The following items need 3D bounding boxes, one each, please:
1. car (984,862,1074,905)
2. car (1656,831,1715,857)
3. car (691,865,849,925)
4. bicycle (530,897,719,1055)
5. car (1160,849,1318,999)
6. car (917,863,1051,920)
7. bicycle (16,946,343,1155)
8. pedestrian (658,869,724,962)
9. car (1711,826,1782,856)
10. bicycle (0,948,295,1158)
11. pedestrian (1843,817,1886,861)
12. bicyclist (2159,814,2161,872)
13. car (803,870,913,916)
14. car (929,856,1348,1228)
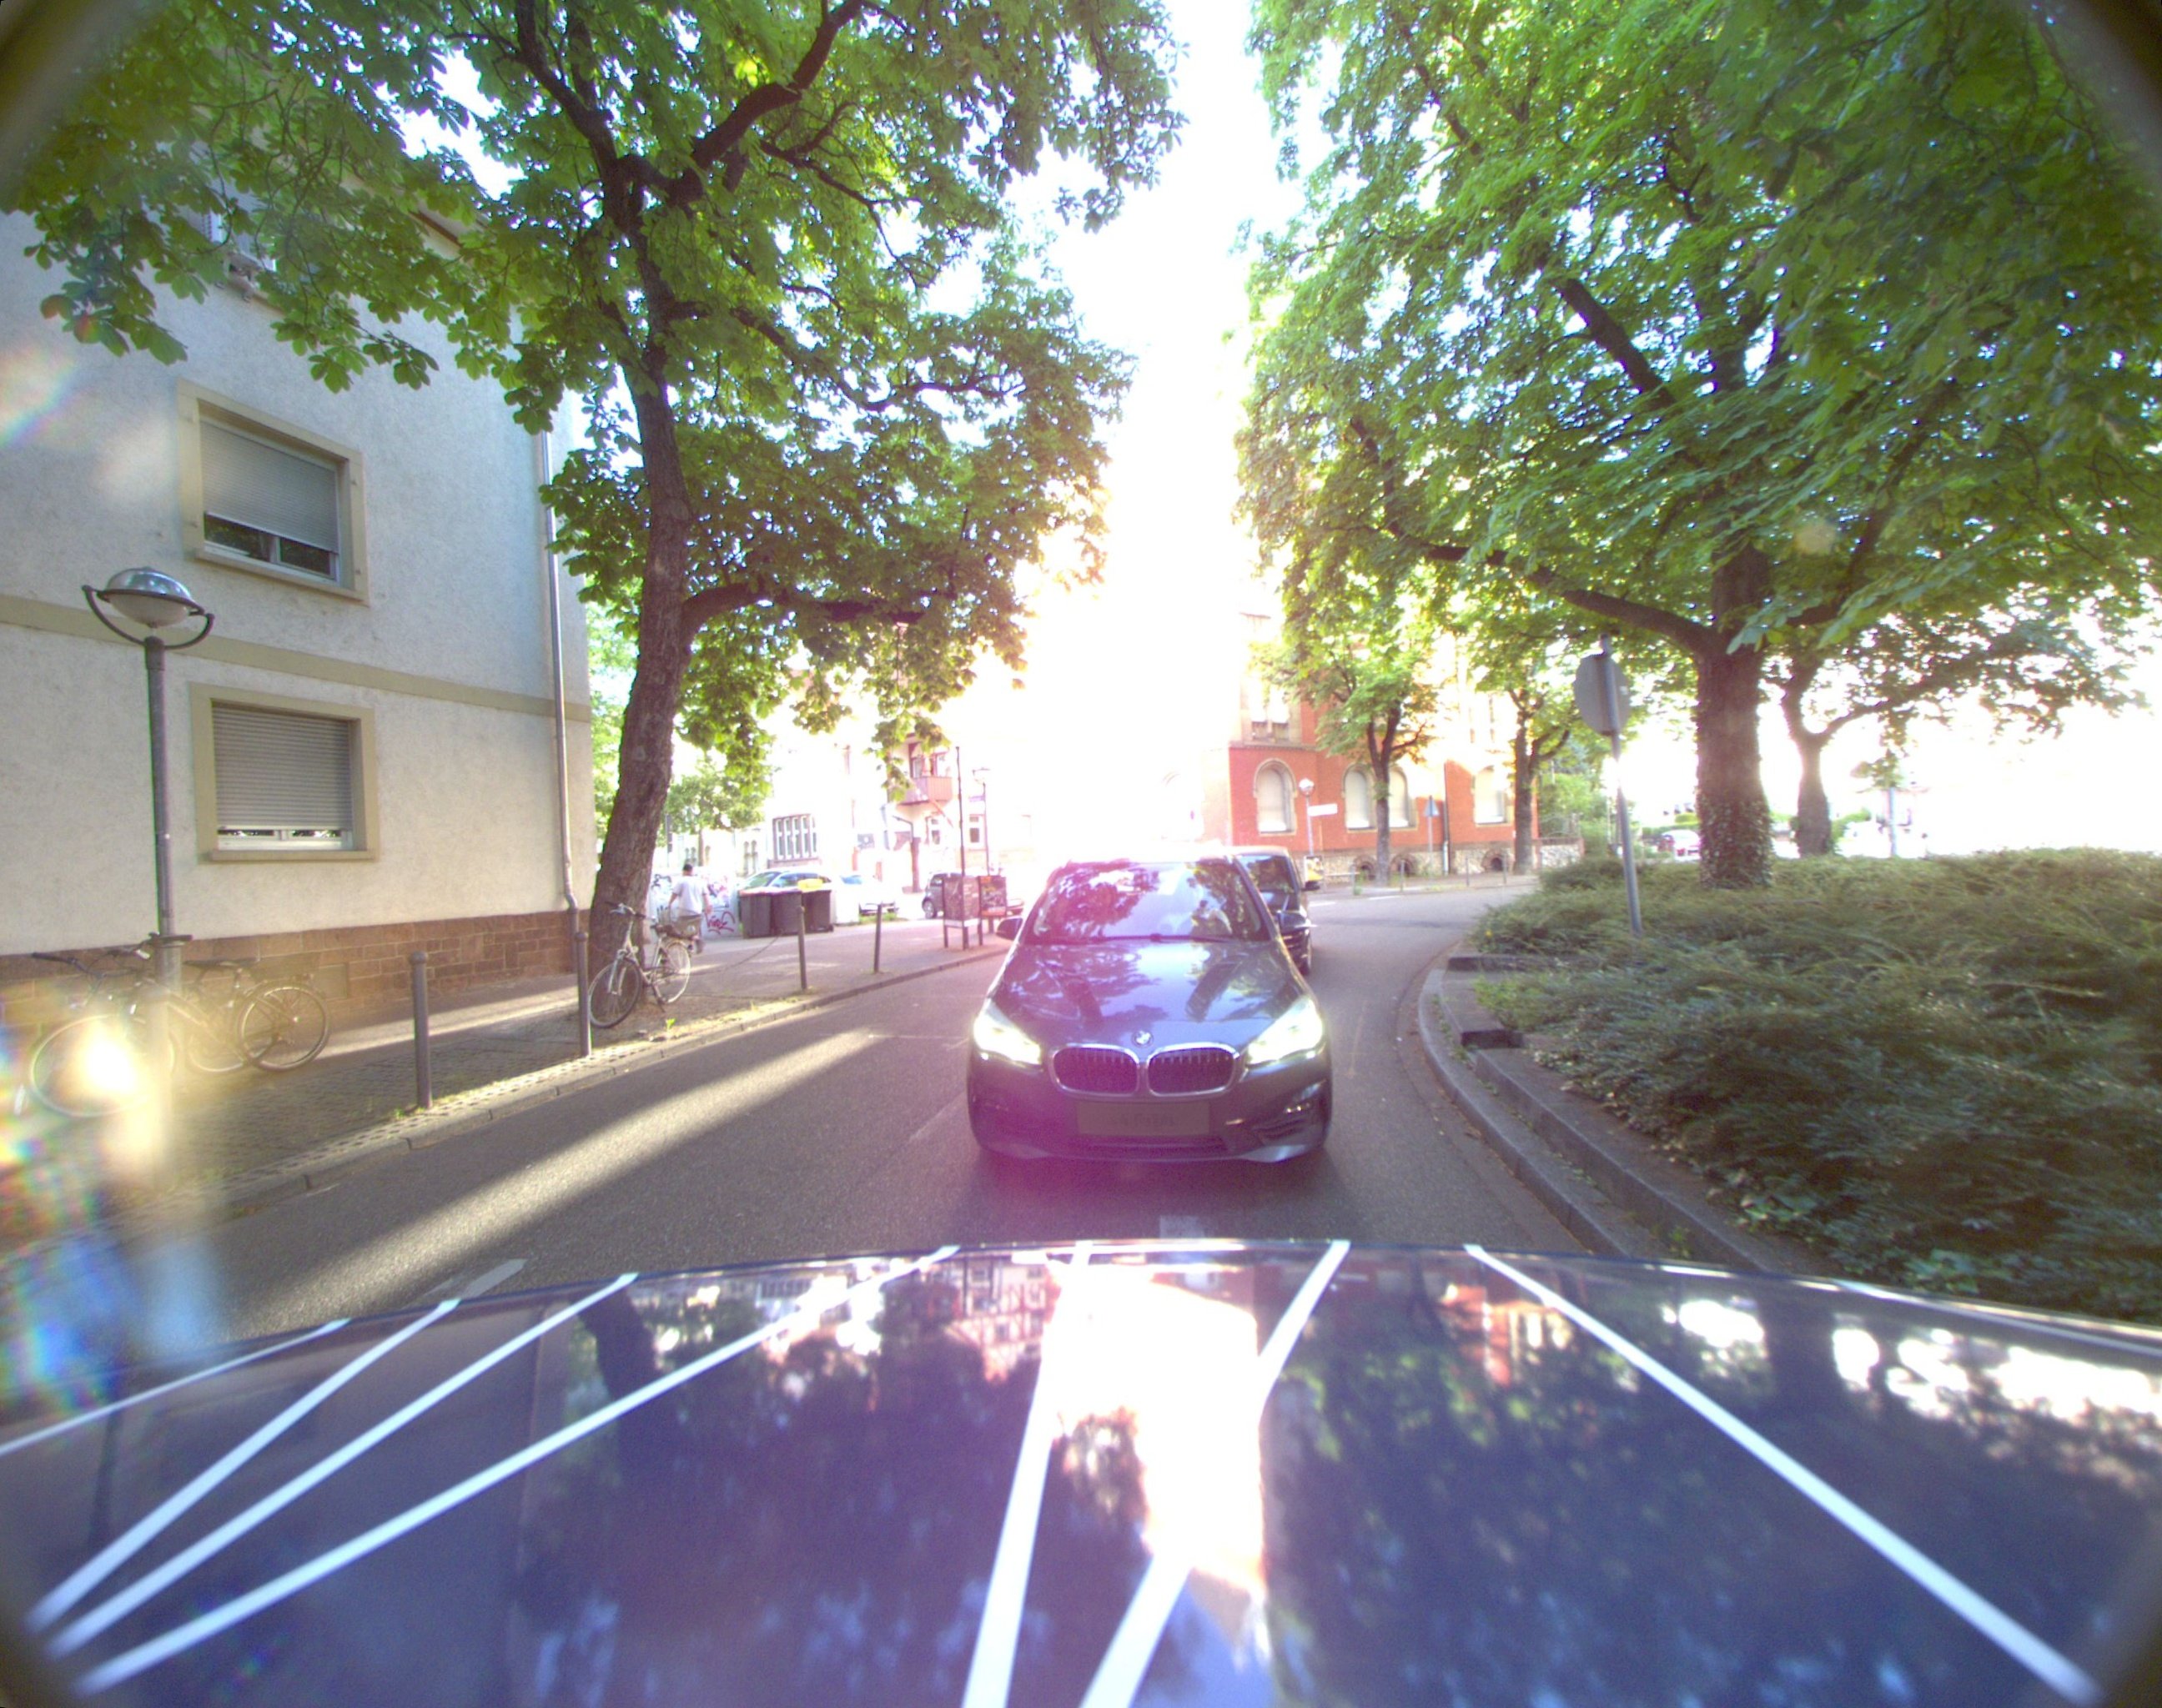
[{"bbox_3d":[-2.001,1.121,29.067,3.207,1.530,1.495,-2,0,38],"label":"car"},{"bbox_3d":[38.014,-0.667,47.870,1.733,1.409,4.004,-3,2,21],"label":"car"},{"bbox_3d":[-8.825,1.136,21.845,1.672,1.417,3.811,-3,0,36],"label":"car"},{"bbox_3d":[-4.601,1.160,7.855,0.767,1.297,1.903,-3,0,-1],"label":"bicycle"},{"bbox_3d":[2.262,0.806,10.391,1.677,1.619,3.692,-3,0,15],"label":"car"},{"bbox_3d":[-3.034,1.163,23.444,4.041,1.543,1.700,-3,0,39],"label":"car"},{"bbox_3d":[-6.366,1.314,5.514,0.334,1.087,1.636,-3,0,1],"label":"bicycle"},{"bbox_3d":[-7.006,1.080,13.657,0.942,1.583,0.643,-1,1,35],"label":"pedestrian"},{"bbox_3d":[35.071,-0.675,40.135,1.732,1.409,4.006,-3,0,25],"label":"car"},{"bbox_3d":[-6.720,1.326,5.473,0.334,1.087,1.636,-3,0,1],"label":"bicycle"},{"bbox_3d":[30.767,-0.591,29.846,0.905,1.625,0.725,-5,0,-13],"label":"pedestrian"},{"bbox_3d":[29.289,-0.299,20.126,0.597,1.564,0.556,-3,0,20],"label":"bicyclist"},{"bbox_3d":[-8.346,1.458,28.276,4.175,1.543,1.809,-3,-1,39],"label":"car"},{"bbox_3d":[0.463,0.851,5.479,1.792,1.569,4.262,-2,0,6],"label":"car"}]
